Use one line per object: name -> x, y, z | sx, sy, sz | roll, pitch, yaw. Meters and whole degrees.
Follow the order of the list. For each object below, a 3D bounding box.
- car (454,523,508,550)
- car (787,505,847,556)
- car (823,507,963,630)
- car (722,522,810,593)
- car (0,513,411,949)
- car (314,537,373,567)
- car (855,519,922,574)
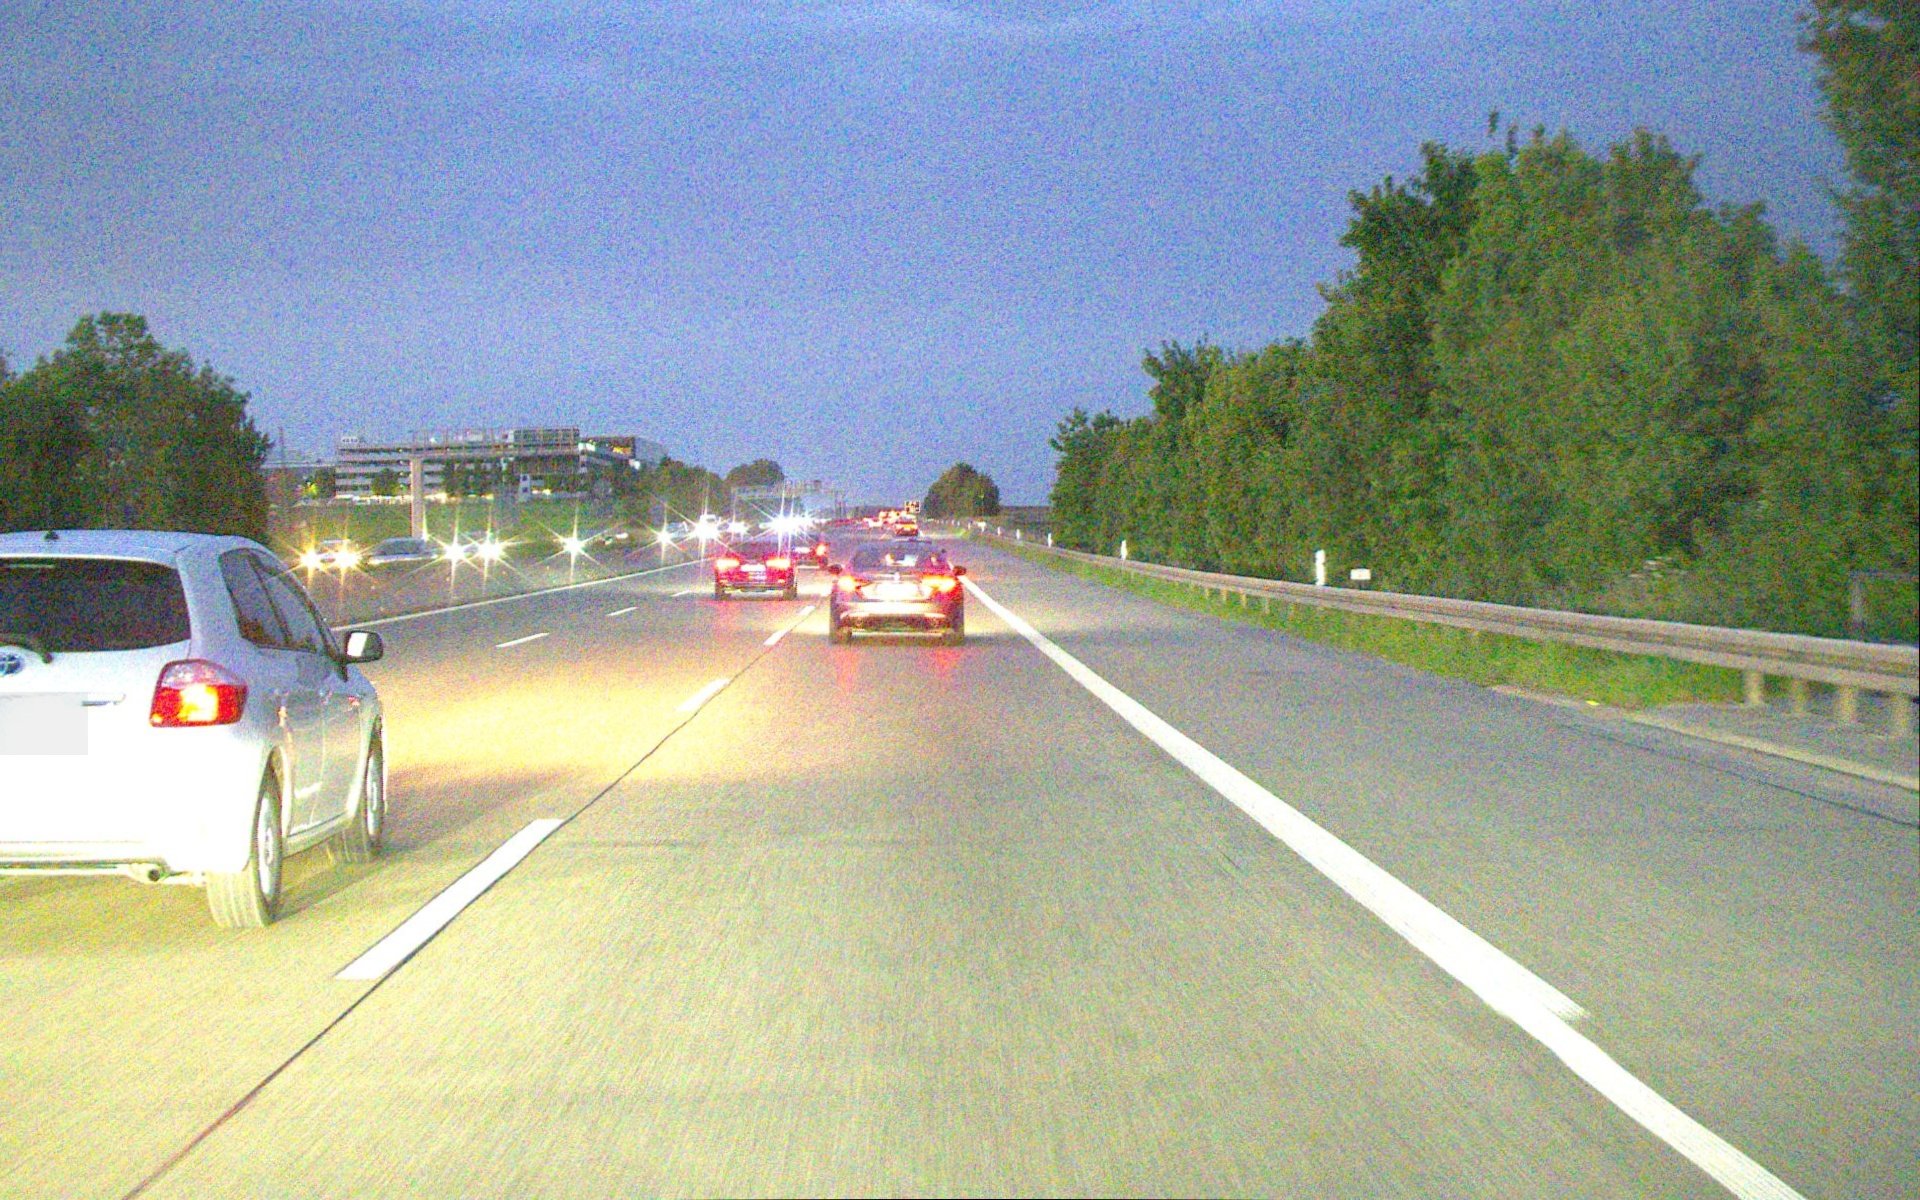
car -> -21.344, -2.833, 153.277 | 1.931, 1.174, 4.000 | 1, 1, -1
car -> -5.397, -2.619, 130.237 | 2.199, 1.873, 4.000 | 1, 1, -1
car -> -0.947, -0.463, 48.585 | 1.880, 1.637, 4.000 | 1, 1, -1
car -> -4.408, -0.973, 78.441 | 1.880, 1.546, 4.000 | 1, 1, -2
car -> -3.487, 0.419, 14.265 | 1.744, 1.519, 4.414 | 1, 1, -1
car -> -24.918, -1.963, 139.018 | 1.718, 1.174, 4.000 | 1, 1, -1
car -> -2.084, -1.553, 99.657 | 1.880, 1.546, 4.000 | 1, 1, -2
